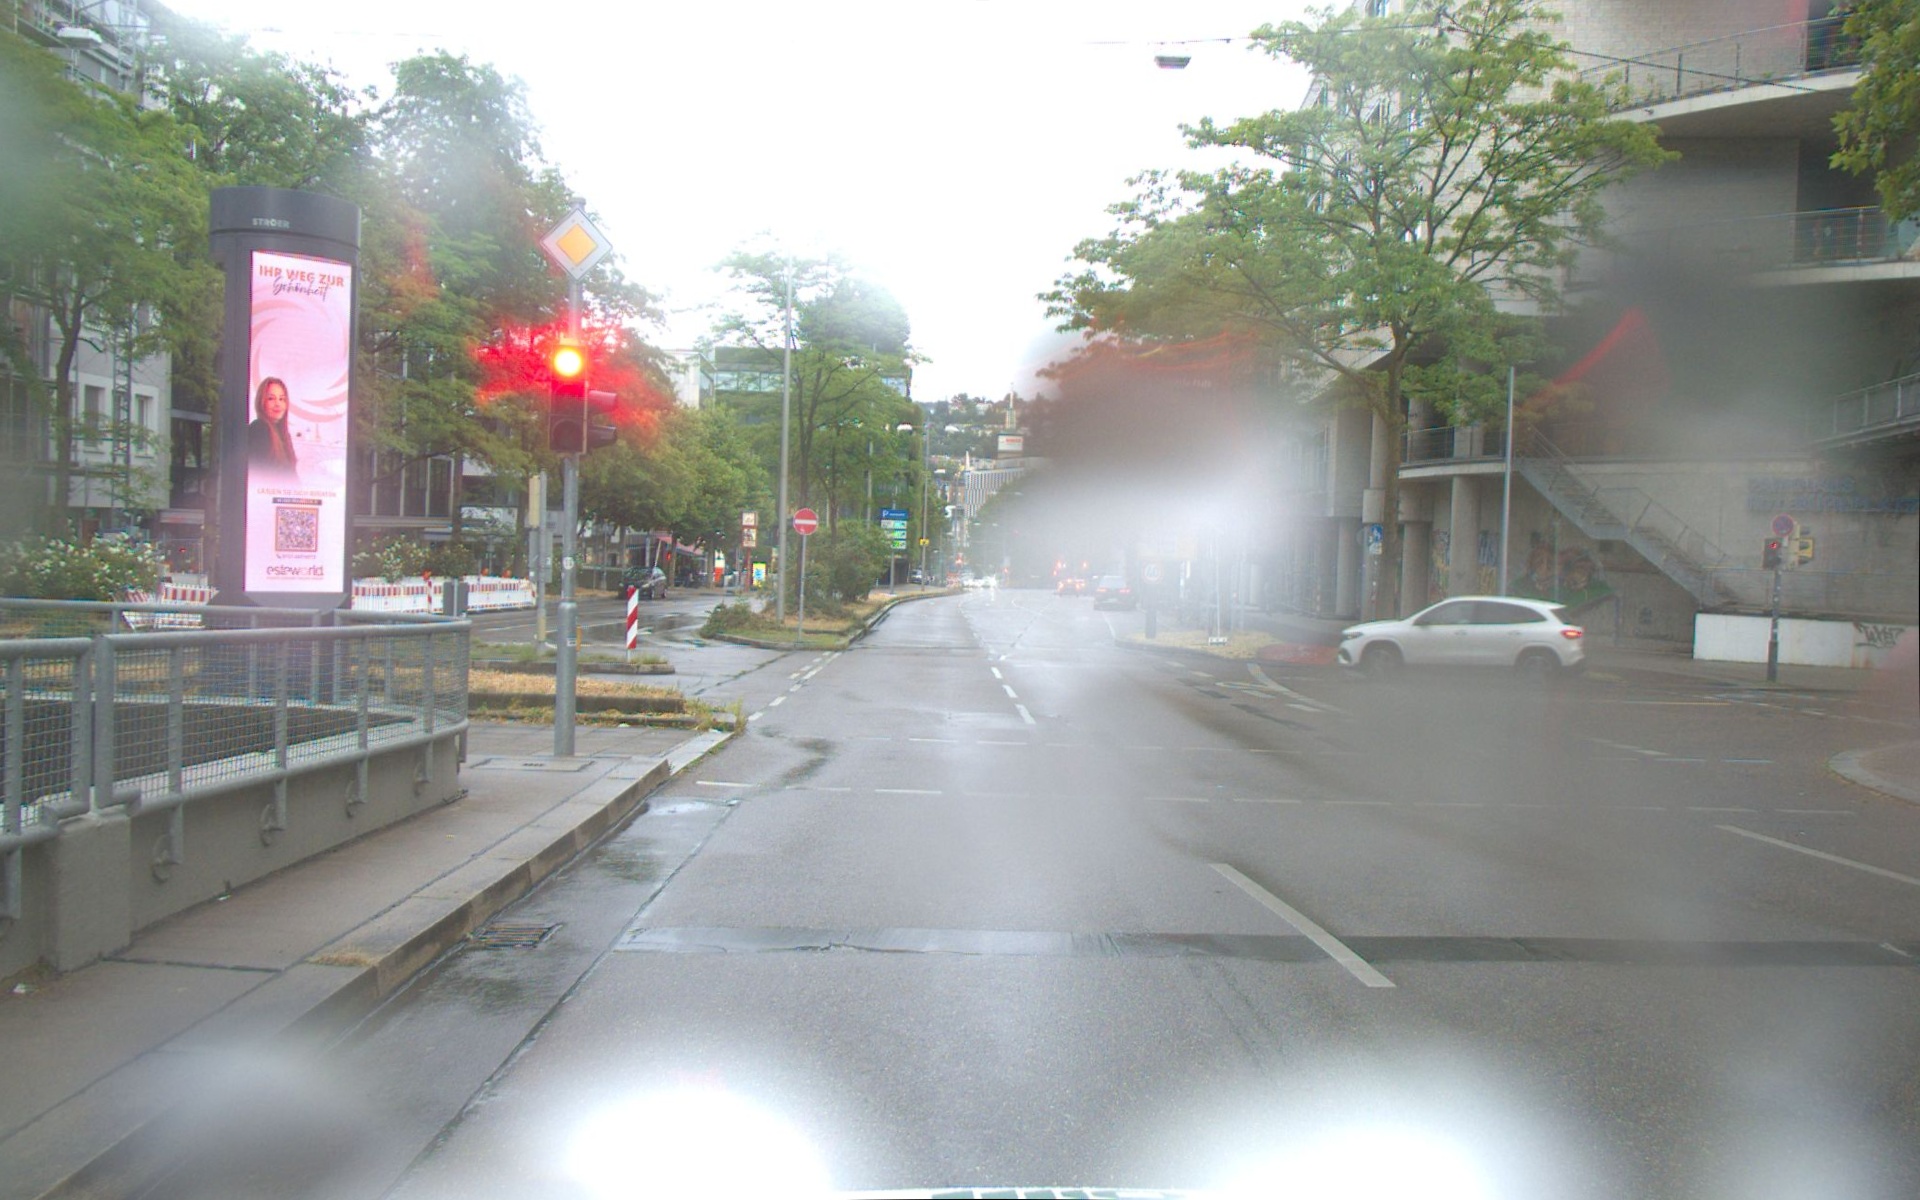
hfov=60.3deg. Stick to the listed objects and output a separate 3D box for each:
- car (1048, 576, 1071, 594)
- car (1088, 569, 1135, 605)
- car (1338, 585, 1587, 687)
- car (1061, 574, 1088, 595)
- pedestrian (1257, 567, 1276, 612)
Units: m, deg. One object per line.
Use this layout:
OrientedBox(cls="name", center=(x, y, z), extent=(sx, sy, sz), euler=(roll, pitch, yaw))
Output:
OrientedBox(cls="car", center=(10.042, -1.478, 166.964), extent=(1.953, 1.766, 3.999), euler=(1, 0, -1))
OrientedBox(cls="car", center=(7.675, -0.670, 83.541), extent=(2.288, 1.720, 4.003), euler=(1, 1, 6))
OrientedBox(cls="car", center=(9.174, 0.620, 30.165), extent=(4.198, 1.668, 1.834), euler=(1, 0, 21))
OrientedBox(cls="car", center=(10.121, -1.346, 146.148), extent=(1.953, 1.754, 3.999), euler=(1, 0, -2))
OrientedBox(cls="pedestrian", center=(13.603, -0.460, 73.417), extent=(0.759, 1.954, 0.703), euler=(1, -1, 9))
